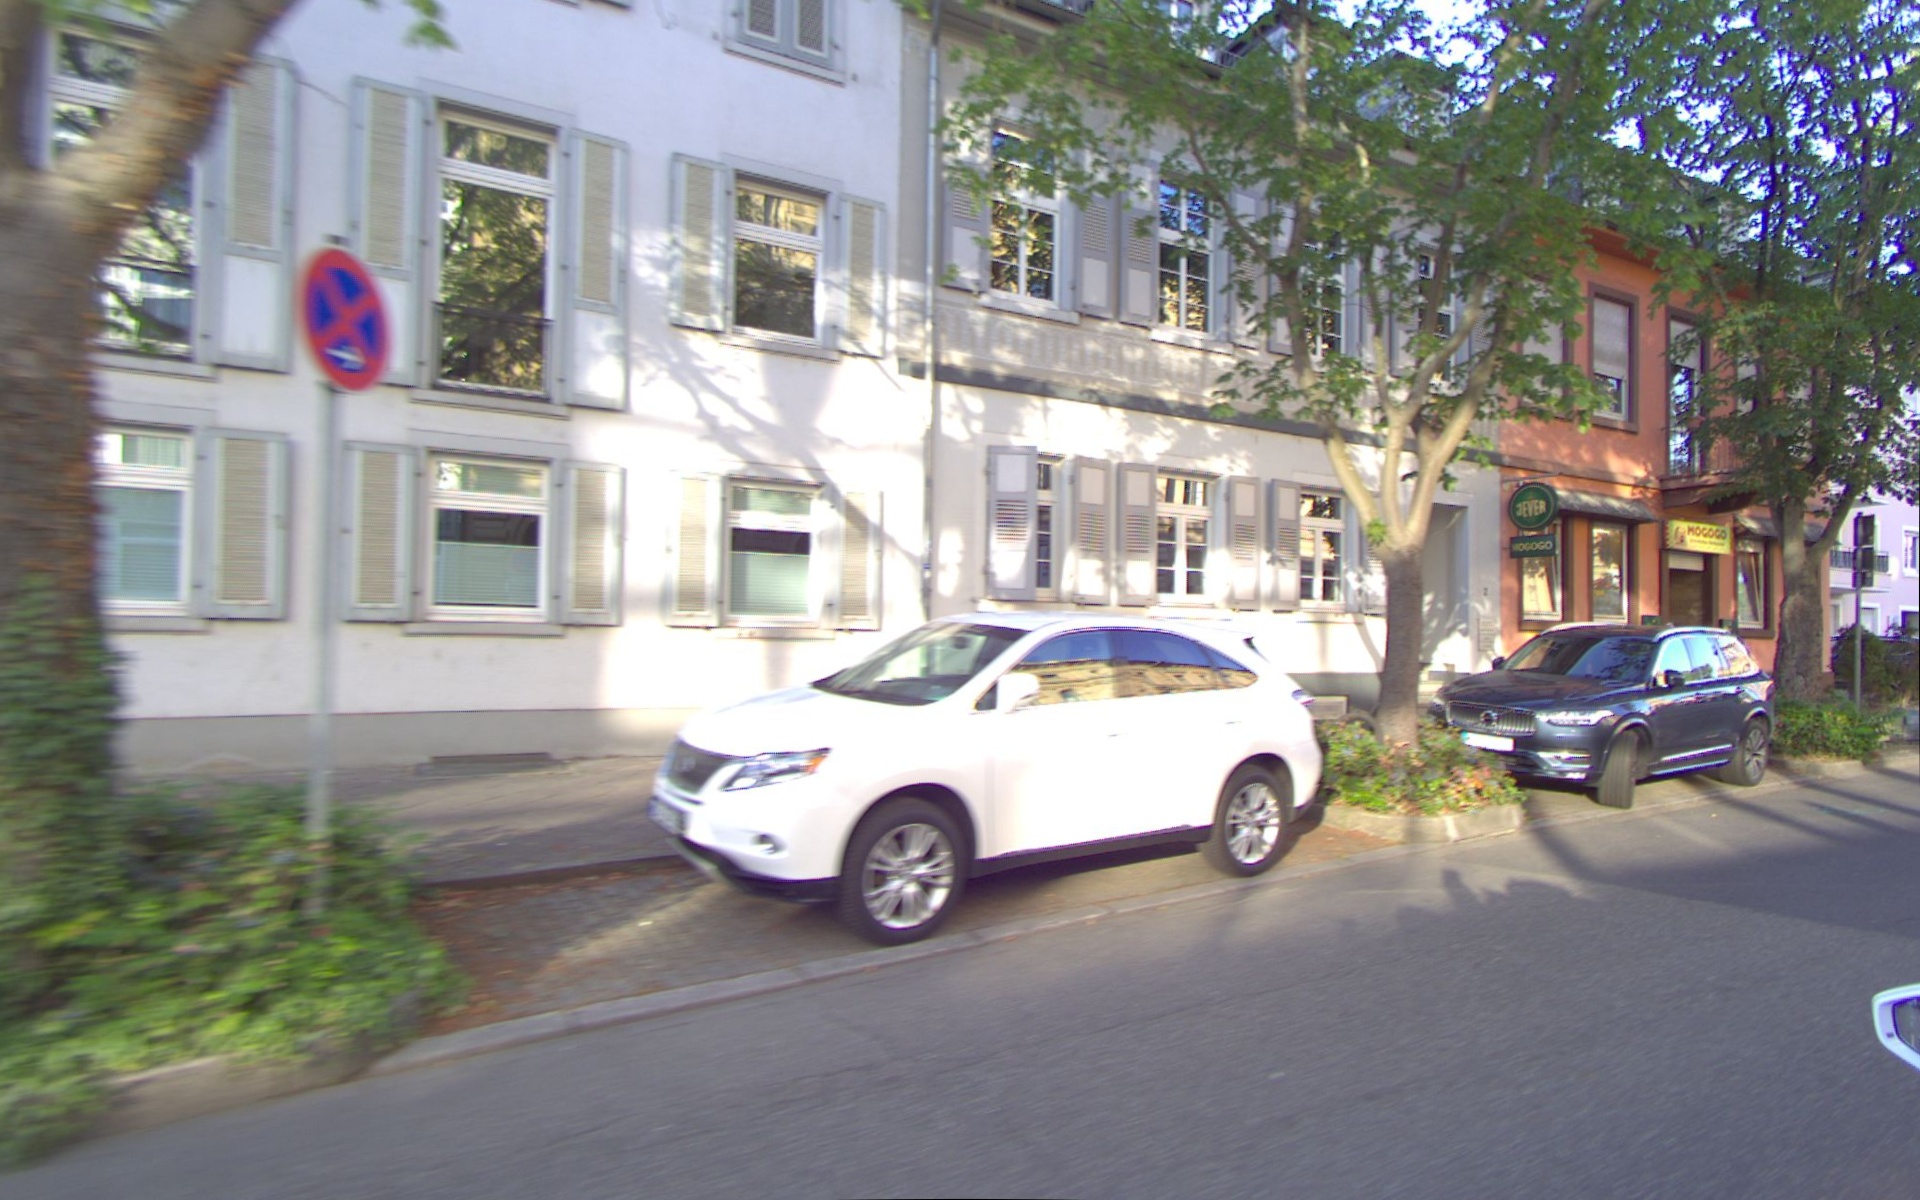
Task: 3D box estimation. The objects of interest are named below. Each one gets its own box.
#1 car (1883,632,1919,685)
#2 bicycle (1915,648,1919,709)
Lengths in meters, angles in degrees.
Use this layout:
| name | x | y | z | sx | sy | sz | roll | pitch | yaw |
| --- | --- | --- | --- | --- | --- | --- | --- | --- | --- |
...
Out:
| name | x | y | z | sx | sy | sz | roll | pitch | yaw |
| --- | --- | --- | --- | --- | --- | --- | --- | --- | --- |
| car | 31.599 | 1.882 | 30.869 | 1.892 | 1.626 | 4.400 | 1 | 0 | -28 |
| bicycle | 18.614 | 1.459 | 18.170 | 0.604 | 1.119 | 1.855 | 2 | -2 | -33 |
